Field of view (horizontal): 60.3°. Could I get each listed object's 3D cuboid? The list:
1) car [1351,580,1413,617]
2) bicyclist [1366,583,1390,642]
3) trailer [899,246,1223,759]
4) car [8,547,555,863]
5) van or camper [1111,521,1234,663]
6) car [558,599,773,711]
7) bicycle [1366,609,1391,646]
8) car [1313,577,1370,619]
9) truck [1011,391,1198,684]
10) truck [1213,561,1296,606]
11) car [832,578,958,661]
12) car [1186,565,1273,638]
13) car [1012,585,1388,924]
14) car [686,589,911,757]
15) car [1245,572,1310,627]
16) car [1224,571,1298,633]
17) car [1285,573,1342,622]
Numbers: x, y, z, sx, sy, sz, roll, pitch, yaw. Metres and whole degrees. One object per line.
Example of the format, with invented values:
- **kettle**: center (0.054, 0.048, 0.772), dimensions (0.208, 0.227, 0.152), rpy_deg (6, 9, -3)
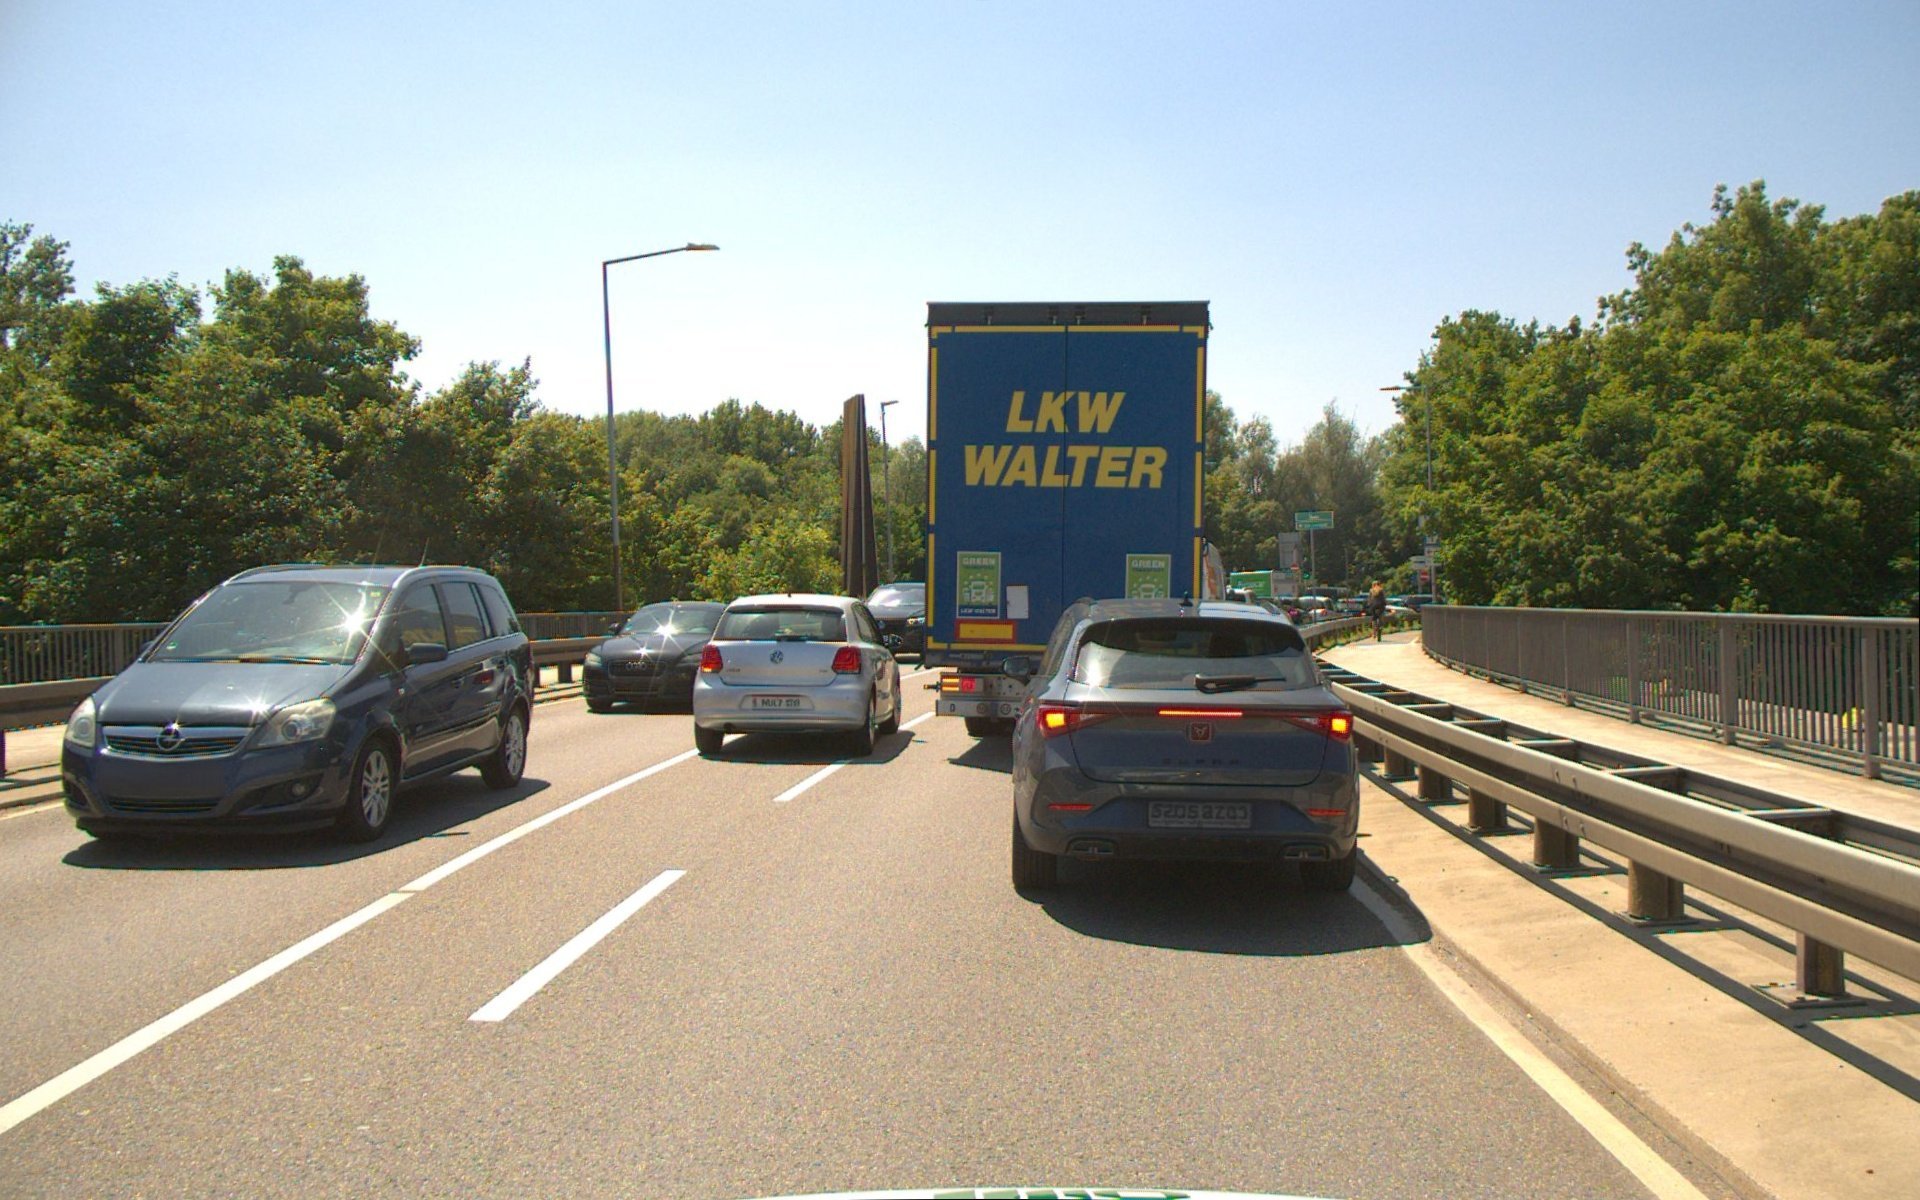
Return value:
- **car**: center (19.808, -0.057, 77.530), dimensions (1.955, 1.603, 3.995), rpy_deg (2, -1, 27)
- **bicyclist**: center (12.394, 0.375, 49.038), dimensions (0.565, 1.712, 0.730), rpy_deg (-3, 0, 10)
- **trailer**: center (1.653, -0.923, 20.855), dimensions (2.842, 4.496, 12.443), rpy_deg (0, 1, 7)
- **car**: center (-4.120, 0.537, 10.881), dimensions (1.671, 1.654, 4.254), rpy_deg (0, 0, 3)
- **van or camper**: center (4.832, -0.200, 36.772), dimensions (2.108, 2.865, 6.392), rpy_deg (0, 0, 13)
- **car**: center (-3.787, 0.662, 21.970), dimensions (1.642, 1.331, 3.976), rpy_deg (0, 0, 8)
- **bicycle**: center (12.419, 0.806, 49.079), dimensions (0.569, 1.053, 1.486), rpy_deg (-3, 0, 10)
- **car**: center (16.470, -0.074, 71.276), dimensions (1.651, 1.791, 3.998), rpy_deg (0, 0, 24)
- **truck**: center (2.661, -0.999, 28.754), dimensions (2.842, 4.496, 6.561), rpy_deg (0, 0, 8)
- **truck**: center (19.770, -1.109, 111.322), dimensions (2.309, 2.924, 5.883), rpy_deg (0, 1, -29)
- **car**: center (-1.358, 0.397, 36.581), dimensions (1.924, 1.702, 4.618), rpy_deg (0, 0, 9)
- **car**: center (7.242, 0.000, 44.180), dimensions (1.685, 1.876, 4.002), rpy_deg (0, 1, 18)
- **car**: center (1.147, 0.664, 9.241), dimensions (1.642, 1.481, 3.960), rpy_deg (0, 0, 3)
- **car**: center (-1.481, 0.629, 16.551), dimensions (1.642, 1.435, 3.977), rpy_deg (1, 1, 3)
- **car**: center (11.301, -0.038, 58.758), dimensions (1.685, 1.876, 4.001), rpy_deg (0, 1, 19)
- **car**: center (9.270, 0.034, 50.687), dimensions (1.685, 1.834, 4.002), rpy_deg (0, 1, 18)
- **car**: center (13.878, -0.112, 64.755), dimensions (1.685, 1.876, 4.001), rpy_deg (0, 1, 19)
